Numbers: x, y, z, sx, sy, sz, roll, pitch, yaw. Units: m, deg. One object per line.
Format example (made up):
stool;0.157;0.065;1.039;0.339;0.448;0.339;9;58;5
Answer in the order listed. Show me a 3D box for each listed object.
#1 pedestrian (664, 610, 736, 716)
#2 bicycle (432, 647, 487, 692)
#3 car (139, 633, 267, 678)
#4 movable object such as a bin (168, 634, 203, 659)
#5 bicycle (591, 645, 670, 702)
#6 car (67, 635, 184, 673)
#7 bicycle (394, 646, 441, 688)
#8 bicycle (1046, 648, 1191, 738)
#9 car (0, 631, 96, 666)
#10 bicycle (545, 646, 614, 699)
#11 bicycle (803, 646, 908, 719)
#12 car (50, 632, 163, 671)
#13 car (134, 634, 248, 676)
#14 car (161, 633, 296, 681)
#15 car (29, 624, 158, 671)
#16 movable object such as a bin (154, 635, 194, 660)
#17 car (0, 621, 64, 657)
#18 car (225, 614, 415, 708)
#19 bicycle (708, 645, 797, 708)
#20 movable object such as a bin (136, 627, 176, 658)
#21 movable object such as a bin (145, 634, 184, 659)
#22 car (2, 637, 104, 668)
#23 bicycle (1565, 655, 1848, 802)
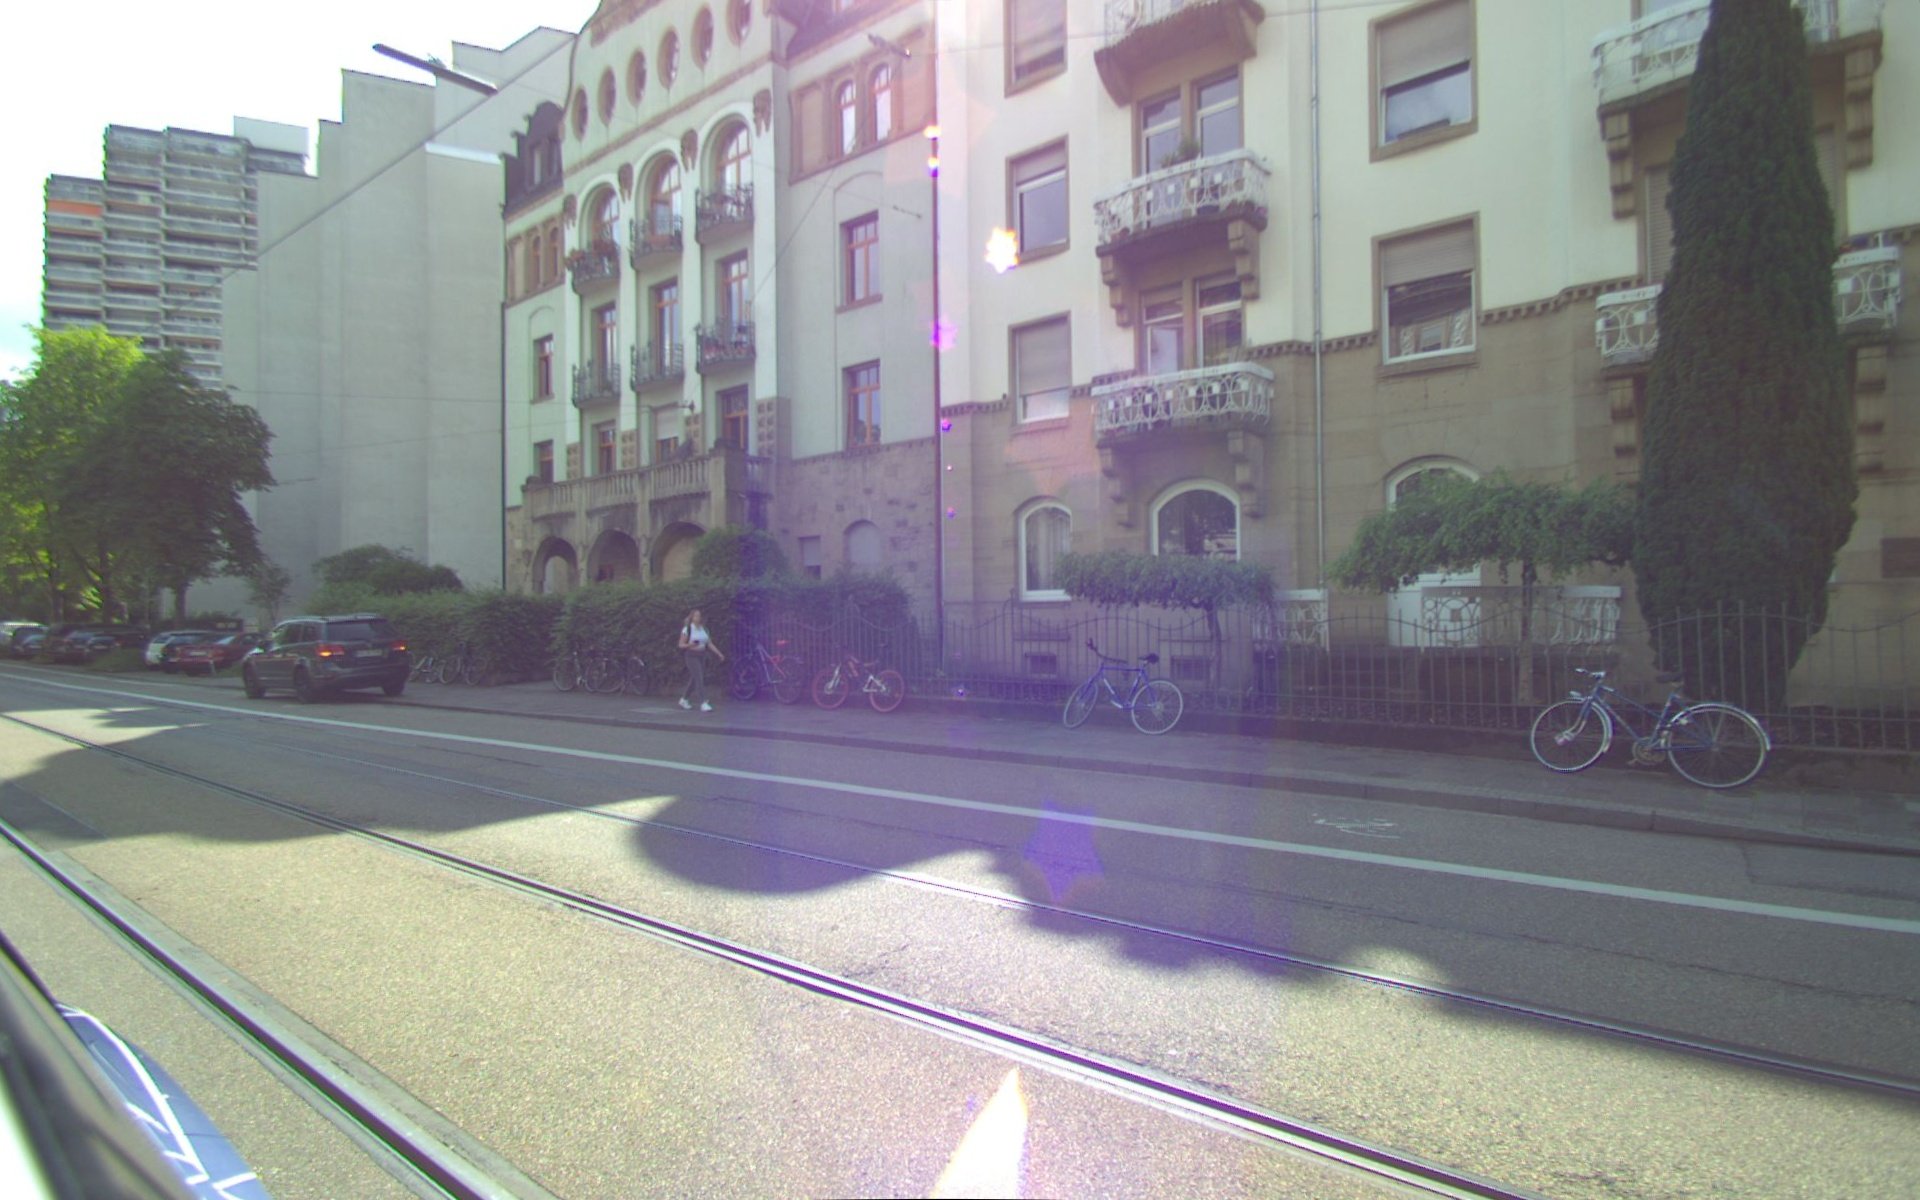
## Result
pedestrian;-4.072;0.957;15.829;0.881;1.580;0.673;-2;0;41
bicycle;-11.382;1.555;22.984;1.920;0.966;0.379;-2;0;41
car;-26.856;1.986;36.060;1.674;1.495;3.807;1;-3;0
movable object such as a bin;-42.536;2.551;55.567;1.440;1.337;1.152;-1;-5;38
bicycle;-6.034;1.324;18.494;1.799;0.966;0.447;-2;0;39
car;-34.716;2.246;42.250;1.715;1.495;4.002;1;-3;-3
bicycle;-13.110;1.600;24.446;1.809;0.966;0.379;-2;0;41
bicycle;1.835;1.065;11.926;1.704;0.966;0.422;-2;0;41
car;-47.065;2.507;52.329;1.734;1.706;3.718;1;-3;-4
bicycle;-7.469;1.394;19.803;1.920;0.966;0.379;-2;0;41
bicycle;-1.546;1.177;14.733;1.800;0.983;0.379;-2;0;41
car;-37.103;2.265;44.127;1.714;1.605;4.004;1;-3;-5
car;-29.072;2.092;38.420;1.671;1.495;3.812;1;-3;-6
car;-24.420;1.906;33.984;1.819;1.495;3.973;1;-3;-4
car;-39.567;2.195;46.401;1.887;1.969;5.175;1;-3;-7
movable object such as a bin;-45.063;2.714;58.007;1.535;1.374;1.375;-1;-4;35
car;-54.609;2.231;58.313;1.940;2.012;4.688;-1;-2;-3
car;-13.518;1.230;21.265;4.874;1.776;1.768;-2;-2;37
bicycle;-3.380;1.217;16.412;1.800;0.966;0.379;-2;0;41
movable object such as a bin;-47.755;2.506;60.099;1.535;1.795;1.375;-1;-4;35
movable object such as a bin;-46.379;2.718;59.011;1.535;1.374;1.375;-1;-4;35
car;-44.762;2.600;50.050;1.733;1.428;4.006;1;-3;-7
bicycle;6.067;0.999;8.320;0.505;0.966;1.817;-3;3;-44
